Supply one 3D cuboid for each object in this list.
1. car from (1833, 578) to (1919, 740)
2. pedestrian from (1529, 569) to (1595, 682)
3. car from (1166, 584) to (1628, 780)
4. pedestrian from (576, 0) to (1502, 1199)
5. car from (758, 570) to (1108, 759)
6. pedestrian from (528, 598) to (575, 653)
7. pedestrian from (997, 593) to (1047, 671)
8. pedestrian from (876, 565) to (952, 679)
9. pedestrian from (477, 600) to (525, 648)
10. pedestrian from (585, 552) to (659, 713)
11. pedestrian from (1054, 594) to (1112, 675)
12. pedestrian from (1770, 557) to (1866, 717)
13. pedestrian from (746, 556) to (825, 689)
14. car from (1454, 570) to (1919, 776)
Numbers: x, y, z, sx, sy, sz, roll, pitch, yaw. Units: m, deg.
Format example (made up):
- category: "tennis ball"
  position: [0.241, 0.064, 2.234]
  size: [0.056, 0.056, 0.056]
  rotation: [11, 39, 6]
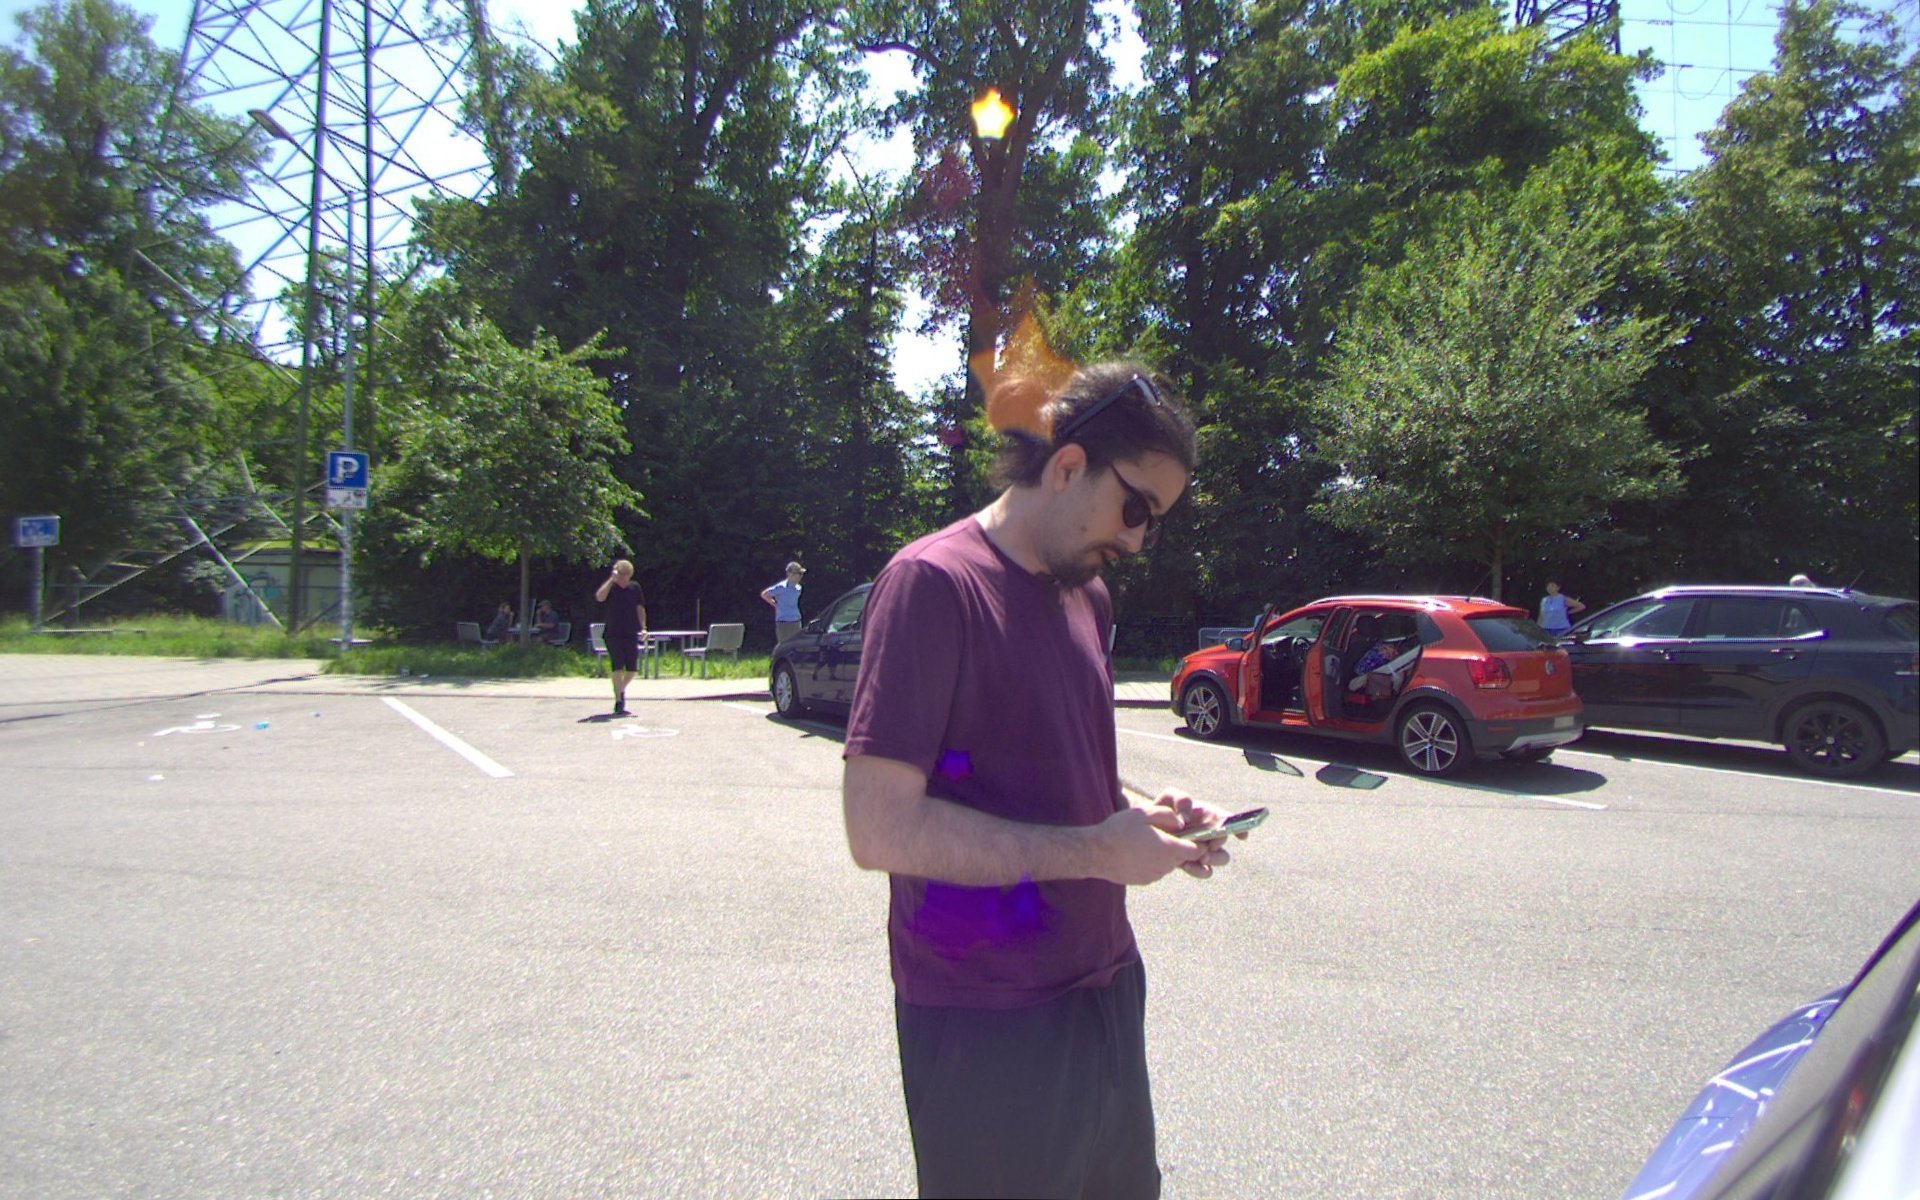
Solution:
- category: "car"
  position: [10.936, 0.596, 9.393]
  size: [1.745, 1.612, 3.972]
  rotation: [1, 0, -32]
- category: "pedestrian"
  position: [8.918, 0.363, 14.991]
  size: [0.712, 1.614, 0.797]
  rotation: [0, -1, 42]
- category: "car"
  position: [3.933, 0.617, 9.658]
  size: [1.746, 1.475, 3.710]
  rotation: [1, 0, -33]
- category: "pedestrian"
  position: [0.122, 0.451, 1.348]
  size: [0.828, 1.797, 0.926]
  rotation: [0, -1, 45]
- category: "car"
  position: [-0.478, 0.540, 10.706]
  size: [1.809, 1.588, 4.017]
  rotation: [1, 0, -35]
- category: "pedestrian"
  position: [-9.552, 0.592, 23.654]
  size: [0.796, 1.253, 0.713]
  rotation: [1, -1, -44]
- category: "pedestrian"
  position: [1.049, 0.534, 17.192]
  size: [0.656, 1.285, 0.655]
  rotation: [1, -1, -17]
- category: "pedestrian"
  position: [-0.680, 0.317, 14.862]
  size: [0.795, 1.614, 0.775]
  rotation: [1, -1, -38]
- category: "pedestrian"
  position: [-10.380, 0.531, 22.879]
  size: [0.796, 1.062, 0.714]
  rotation: [1, -1, -43]
- category: "pedestrian"
  position: [-4.086, 0.376, 12.205]
  size: [0.700, 1.851, 0.906]
  rotation: [1, -1, -26]
- category: "pedestrian"
  position: [2.055, 0.560, 16.948]
  size: [0.656, 1.311, 0.832]
  rotation: [1, -1, -17]
- category: "pedestrian"
  position: [10.476, 0.430, 12.383]
  size: [0.672, 1.889, 0.710]
  rotation: [0, -1, 19]
- category: "pedestrian"
  position: [-2.438, 0.297, 14.146]
  size: [0.786, 1.784, 0.809]
  rotation: [1, -1, -39]
- category: "car"
  position: [7.214, 0.572, 9.845]
  size: [1.807, 1.612, 3.967]
  rotation: [1, 0, -38]
